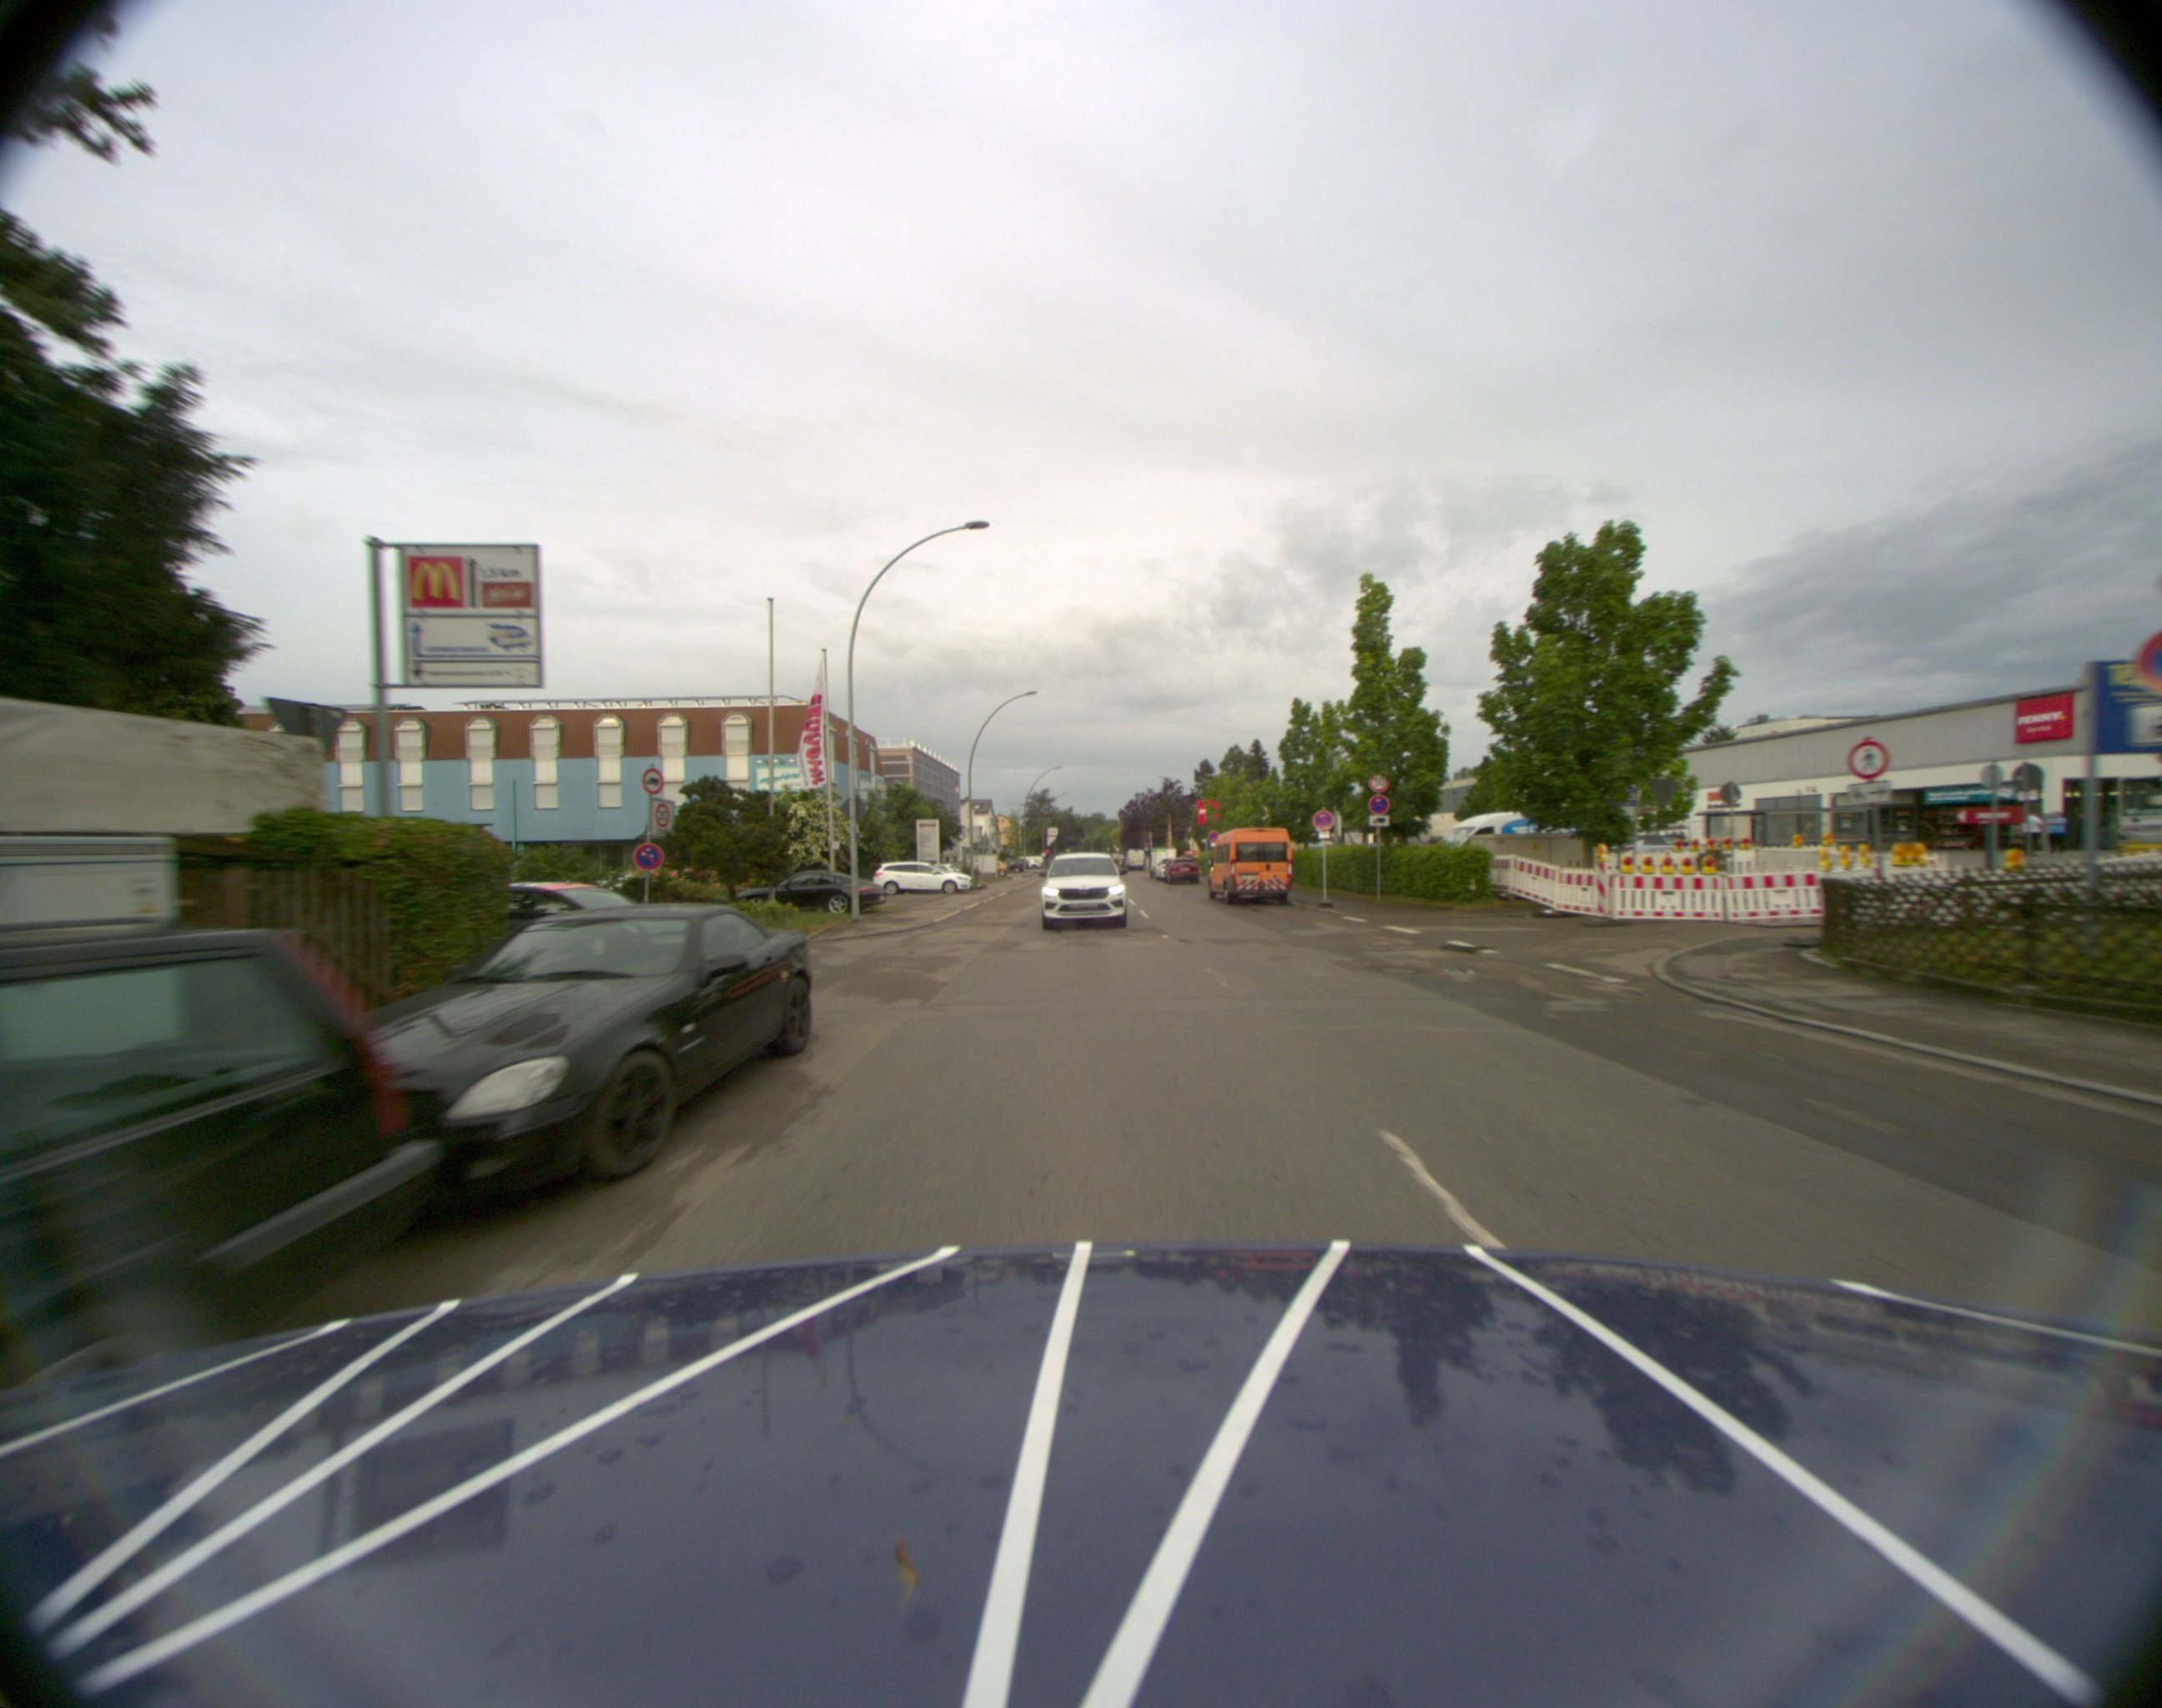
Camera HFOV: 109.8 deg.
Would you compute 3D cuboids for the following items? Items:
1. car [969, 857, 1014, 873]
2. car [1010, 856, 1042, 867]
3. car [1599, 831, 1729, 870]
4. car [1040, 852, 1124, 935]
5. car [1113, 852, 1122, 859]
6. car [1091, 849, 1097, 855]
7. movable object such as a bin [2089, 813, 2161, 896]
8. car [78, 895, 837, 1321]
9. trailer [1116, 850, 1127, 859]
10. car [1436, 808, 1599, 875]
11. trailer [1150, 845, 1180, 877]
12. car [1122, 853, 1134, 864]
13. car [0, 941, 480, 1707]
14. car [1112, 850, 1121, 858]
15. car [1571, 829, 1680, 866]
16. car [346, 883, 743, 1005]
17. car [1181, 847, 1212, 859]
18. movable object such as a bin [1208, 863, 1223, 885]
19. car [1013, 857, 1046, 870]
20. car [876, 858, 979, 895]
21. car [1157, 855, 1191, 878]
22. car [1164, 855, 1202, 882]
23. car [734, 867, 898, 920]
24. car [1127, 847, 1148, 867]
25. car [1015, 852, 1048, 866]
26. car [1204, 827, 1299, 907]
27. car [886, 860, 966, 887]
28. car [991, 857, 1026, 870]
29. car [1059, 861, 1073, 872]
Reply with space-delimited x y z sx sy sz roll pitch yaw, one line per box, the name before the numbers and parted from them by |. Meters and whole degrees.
car | -8.399 1.031 71.623 3.997 1.422 1.630 -2 1 -1
car | -7.982 1.067 110.441 4.331 1.371 1.850 -2 1 0
car | 25.032 -0.166 32.763 4.064 1.469 1.918 -2 1 3
car | -0.016 0.816 17.869 1.692 1.651 3.999 -2 1 -1
car | 8.286 0.295 173.332 1.821 1.419 4.981 0 1 1
car | 4.181 -0.624 243.549 1.898 1.678 4.231 0 1 1
movable object such as a bin | 24.790 -0.051 16.500 3.432 1.749 1.999 -2 1 -6
car | -3.088 1.107 5.021 1.594 1.333 4.092 -4 0 -1
trailer | 8.136 0.129 152.644 1.934 1.755 4.548 -2 0 1
car | 14.705 -0.421 25.781 4.317 2.002 2.062 -2 1 1
trailer | 6.430 0.514 58.541 1.817 2.300 4.730 1 0 0
car | 7.119 0.621 115.836 1.665 1.575 3.915 1 1 0
car | -3.007 1.080 0.371 1.661 1.411 4.775 -2 1 -2
car | 8.291 0.003 178.556 1.898 1.881 5.210 0 1 1
car | 25.191 -0.312 35.251 3.901 1.511 1.694 -2 1 -4
car | -7.108 1.161 10.441 3.997 1.259 1.950 -2 1 -1
car | 19.883 -0.211 130.849 5.010 1.846 2.000 -2 1 3
movable object such as a bin | 7.310 1.091 41.296 0.674 1.151 0.621 -2 1 5
car | -7.288 1.370 107.340 4.456 1.615 1.893 -2 1 0
car | -7.074 1.023 35.379 4.349 1.467 1.902 -2 1 0
car | 6.326 0.828 51.996 1.777 1.490 4.137 -1 0 0
car | 6.267 0.856 47.193 1.810 1.564 4.342 -1 0 0
car | -7.619 1.117 22.126 3.996 1.259 1.951 -2 1 3
car | 7.016 0.325 94.477 2.163 2.413 6.459 2 0 1
car | -7.312 0.766 112.600 4.743 1.875 2.000 -2 1 1
car | 5.985 0.420 27.510 2.130 2.523 6.022 -1 0 1
car | -9.332 1.173 46.085 4.427 1.384 1.880 -2 0 -1
car | -8.947 1.132 93.955 3.976 1.481 1.833 -2 1 2
car | -2.110 1.747 107.815 1.743 1.458 4.545 -2 1 0
